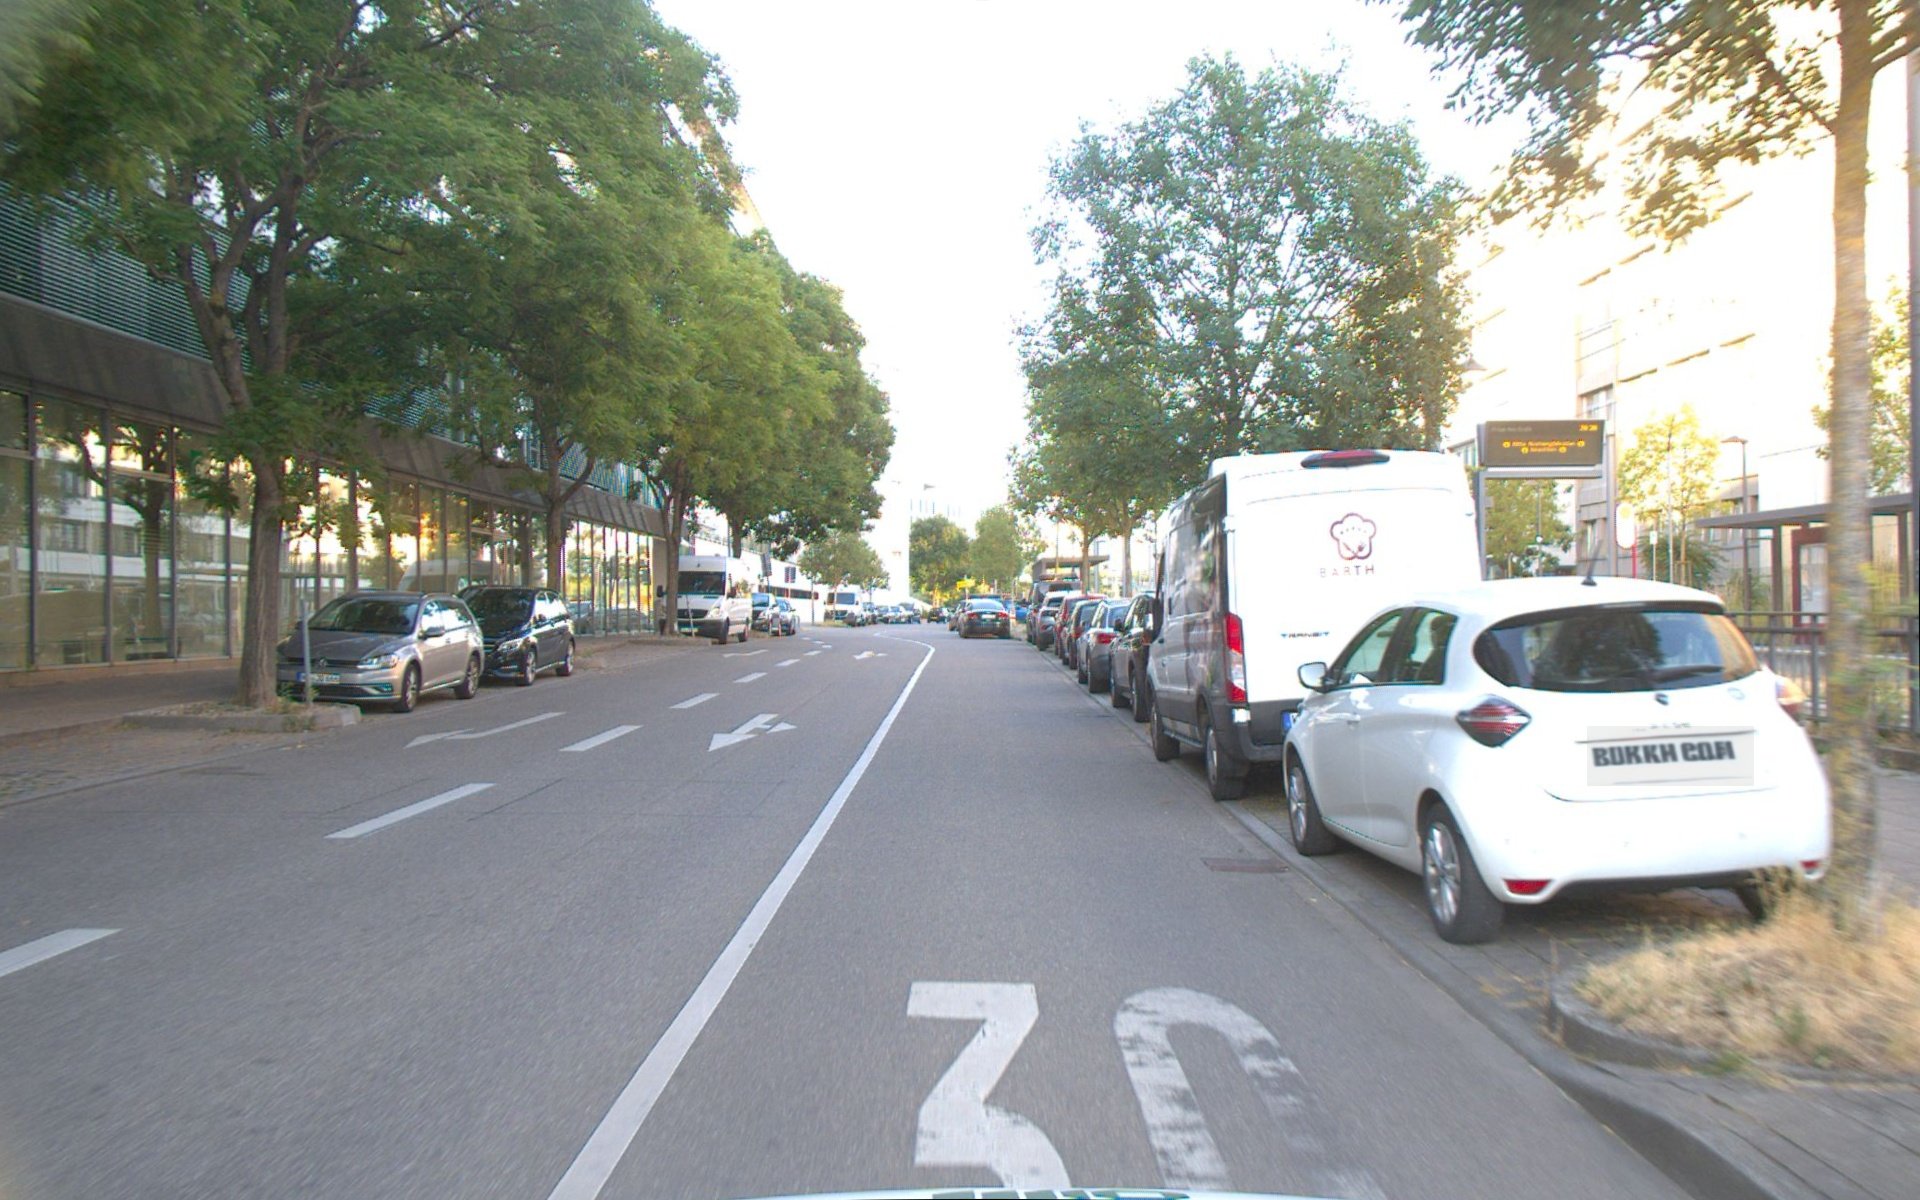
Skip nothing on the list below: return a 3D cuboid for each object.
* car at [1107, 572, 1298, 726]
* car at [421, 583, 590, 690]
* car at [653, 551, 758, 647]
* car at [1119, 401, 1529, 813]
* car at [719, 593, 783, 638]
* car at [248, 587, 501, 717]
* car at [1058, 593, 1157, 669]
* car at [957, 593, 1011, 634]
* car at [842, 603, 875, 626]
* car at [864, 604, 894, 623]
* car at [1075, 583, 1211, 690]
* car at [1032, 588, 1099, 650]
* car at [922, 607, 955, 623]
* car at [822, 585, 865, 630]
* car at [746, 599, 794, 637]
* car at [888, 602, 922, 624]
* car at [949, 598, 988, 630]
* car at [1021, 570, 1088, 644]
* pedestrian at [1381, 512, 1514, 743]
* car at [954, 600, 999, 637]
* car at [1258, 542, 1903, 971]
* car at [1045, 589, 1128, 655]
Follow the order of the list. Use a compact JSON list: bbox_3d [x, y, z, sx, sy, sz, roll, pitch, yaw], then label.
[{"bbox_3d":[2.935,0.570,20.863,1.673,1.672,4.266,-2,0,-1],"label":"car"},{"bbox_3d":[-7.555,0.572,27.903,1.557,1.596,4.471,2,0,0],"label":"car"},{"bbox_3d":[-7.639,-0.031,50.334,2.057,2.710,6.951,0,0,0],"label":"car"},{"bbox_3d":[2.774,0.056,14.108,2.010,2.703,5.432,-4,0,-1],"label":"car"},{"bbox_3d":[-7.659,0.563,60.969,1.806,1.599,4.267,-1,0,0],"label":"car"},{"bbox_3d":[-7.606,0.618,21.982,1.668,1.487,4.626,2,0,0],"label":"car"},{"bbox_3d":[3.133,0.652,35.762,1.673,1.477,3.999,-3,0,-1],"label":"car"},{"bbox_3d":[0.894,0.509,63.590,1.751,1.477,4.512,0,0,-3],"label":"car"},{"bbox_3d":[-6.706,0.938,109.747,1.719,1.465,3.902,1,0,2],"label":"car"},{"bbox_3d":[-6.458,1.089,132.503,1.686,1.483,4.274,1,0,6],"label":"car"},{"bbox_3d":[2.960,0.559,27.678,1.759,1.522,4.781,-4,0,1],"label":"car"},{"bbox_3d":[2.987,0.530,47.462,1.672,1.608,4.479,-3,0,1],"label":"car"},{"bbox_3d":[-1.970,1.400,153.533,1.903,1.407,4.402,1,0,16],"label":"car"},{"bbox_3d":[-7.213,0.473,103.010,1.918,2.663,6.893,1,0,2],"label":"car"},{"bbox_3d":[-7.556,0.705,66.077,1.681,1.477,4.395,0,0,-4],"label":"car"},{"bbox_3d":[-4.729,1.127,143.325,1.720,1.830,4.466,1,0,15],"label":"car"},{"bbox_3d":[0.379,0.722,80.870,1.696,1.491,3.997,1,-1,-3],"label":"car"},{"bbox_3d":[3.020,0.236,53.817,1.767,2.214,4.735,-2,0,-1],"label":"car"},{"bbox_3d":[4.507,0.248,15.281,0.794,2.049,0.972,-1,-1,45],"label":"pedestrian"},{"bbox_3d":[0.651,0.766,69.661,1.642,1.477,4.185,0,0,-3],"label":"car"},{"bbox_3d":[2.881,0.639,8.709,1.713,1.611,4.012,-4,0,-2],"label":"car"},{"bbox_3d":[3.170,0.556,42.139,1.673,1.519,4.130,-3,0,-1],"label":"car"}]
